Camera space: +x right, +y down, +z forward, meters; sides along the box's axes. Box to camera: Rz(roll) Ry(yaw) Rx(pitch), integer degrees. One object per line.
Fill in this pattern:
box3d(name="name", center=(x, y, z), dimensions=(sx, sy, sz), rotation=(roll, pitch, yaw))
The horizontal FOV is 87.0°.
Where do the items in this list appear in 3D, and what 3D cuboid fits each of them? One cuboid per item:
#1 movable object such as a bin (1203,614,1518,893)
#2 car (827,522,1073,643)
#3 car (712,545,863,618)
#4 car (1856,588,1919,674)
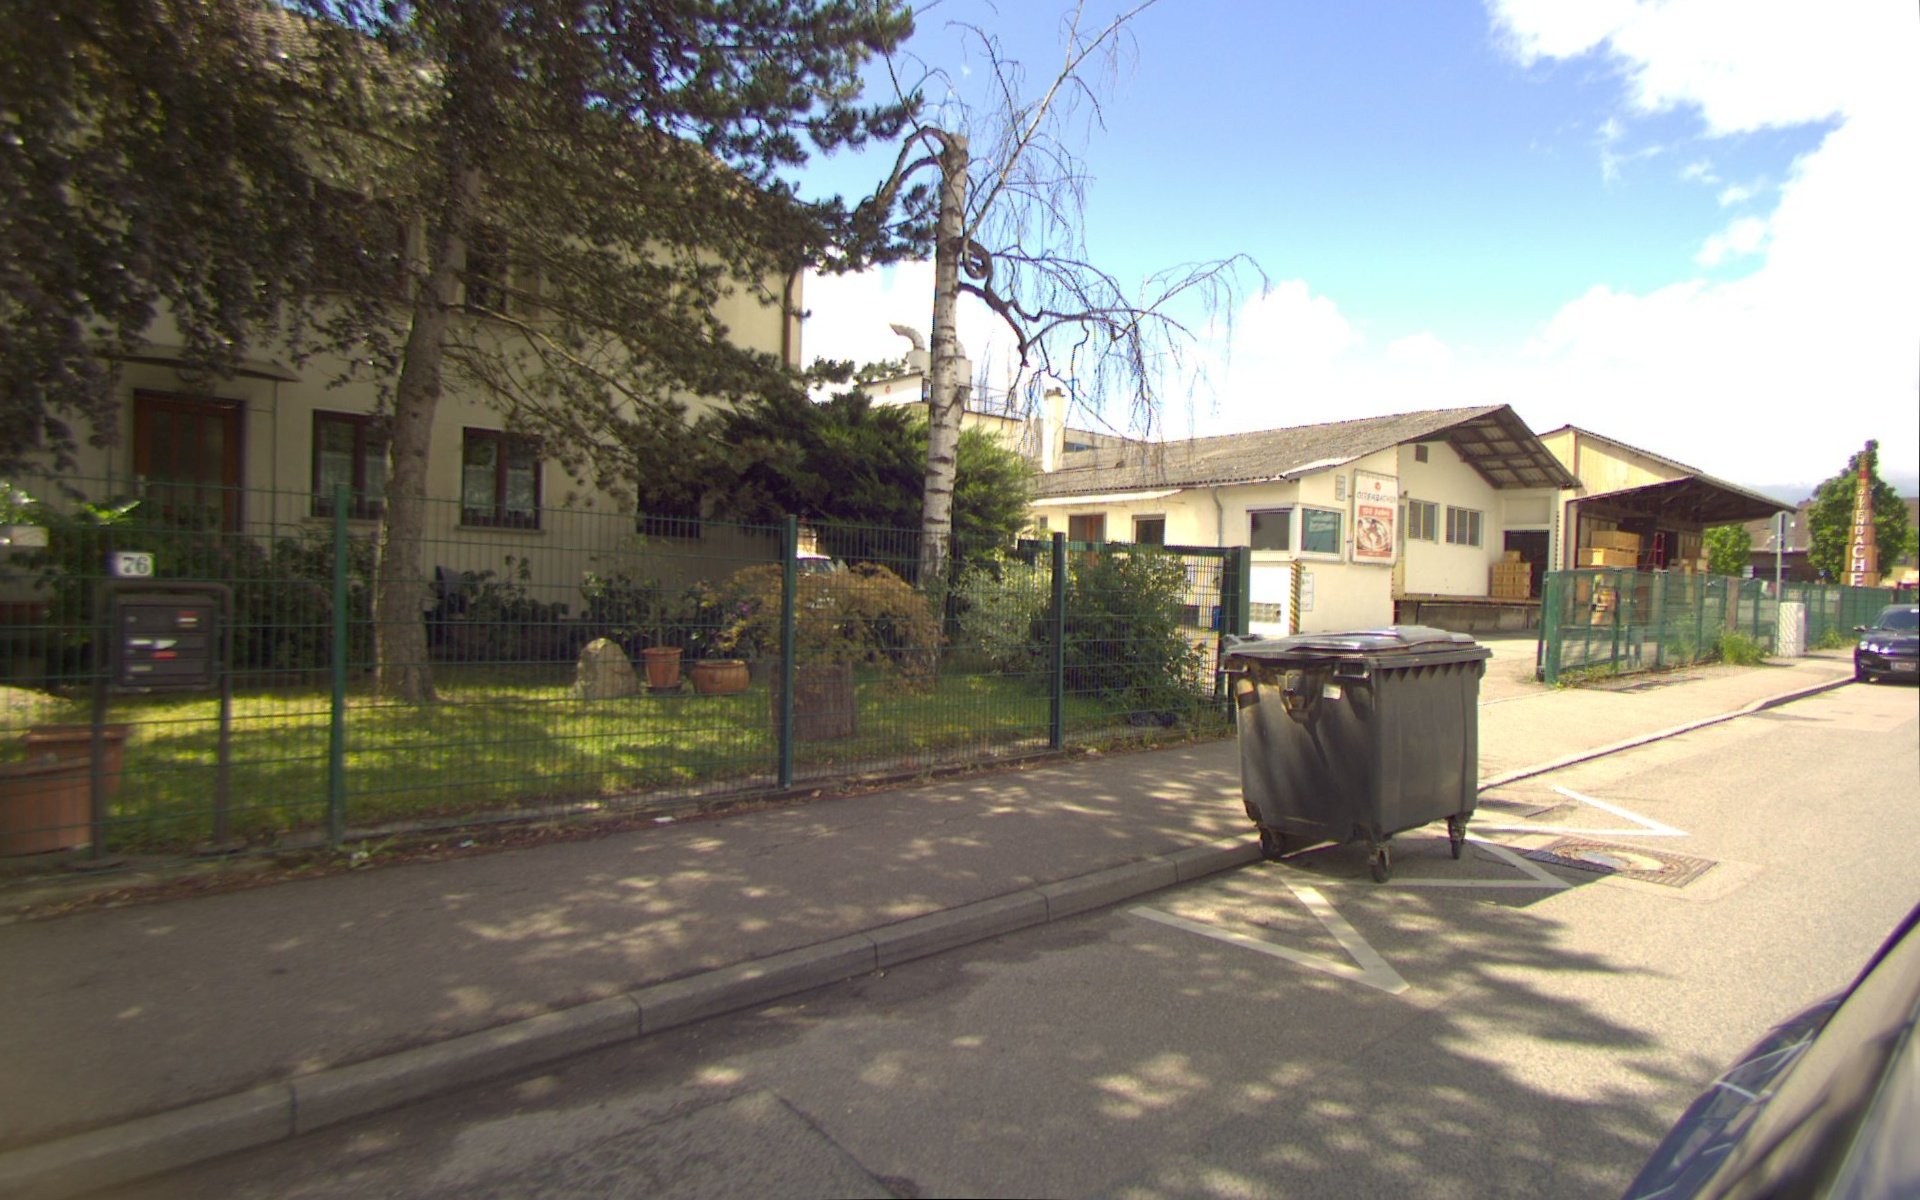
box3d(name="movable object such as a bin", center=(2.304, 0.773, 5.851), dimensions=(1.332, 1.307, 1.117), rotation=(0, 2, -36))
box3d(name="car", center=(-0.358, -0.380, 18.579), dimensions=(1.962, 1.910, 4.927), rotation=(1, 2, -36))
box3d(name="car", center=(-4.116, -0.473, 23.712), dimensions=(1.648, 1.522, 4.030), rotation=(0, 3, -41))
box3d(name="car", center=(18.170, 0.542, 18.827), dimensions=(3.930, 1.482, 1.758), rotation=(0, 1, -41))
